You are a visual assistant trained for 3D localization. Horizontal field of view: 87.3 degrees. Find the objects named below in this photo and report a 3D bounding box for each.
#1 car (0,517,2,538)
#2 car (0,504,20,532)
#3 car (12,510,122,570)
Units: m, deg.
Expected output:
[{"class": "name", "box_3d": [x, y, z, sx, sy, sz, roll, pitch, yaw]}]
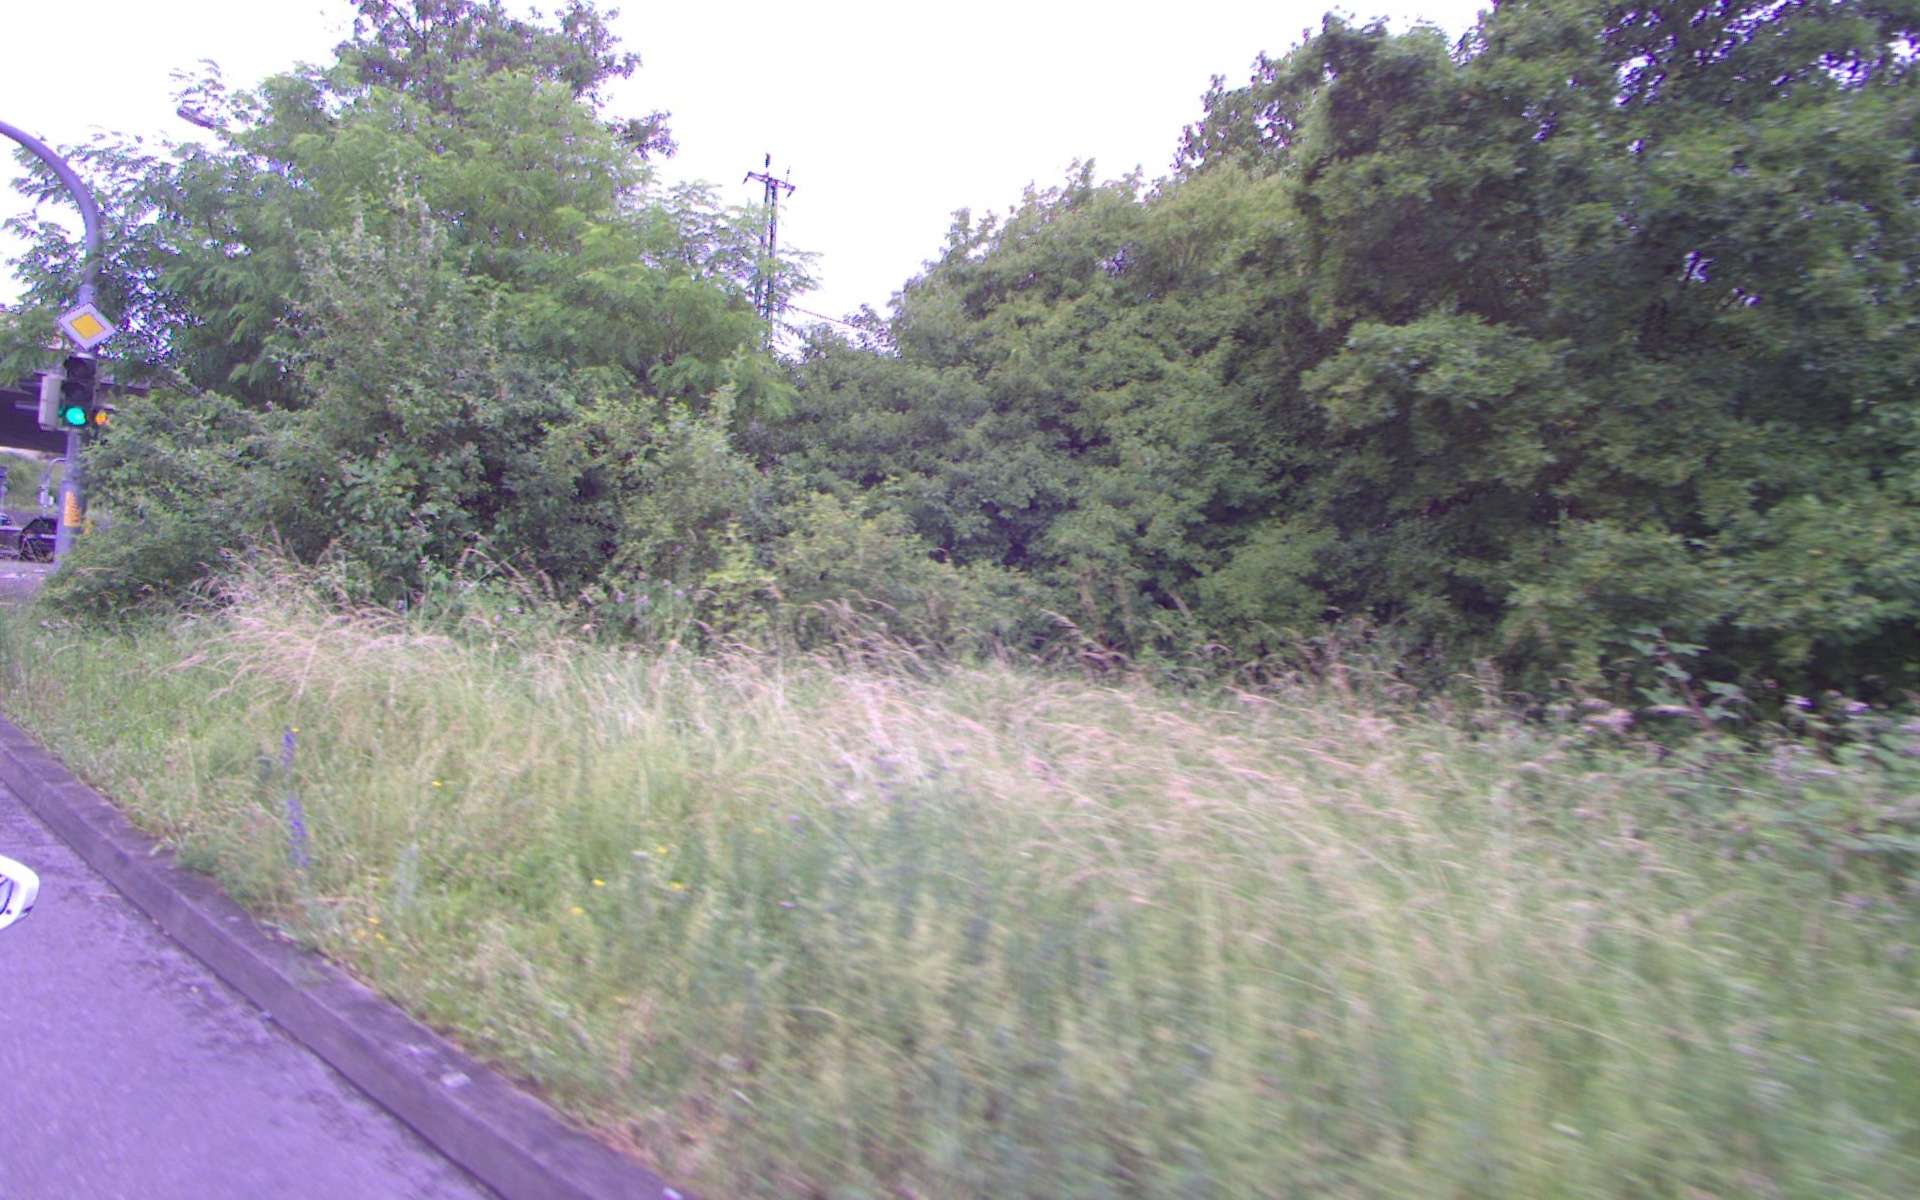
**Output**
[{"class": "car", "box_3d": [-37.010, -2.525, 36.812, 1.802, 1.494, 4.106, 7, -2, -30]}, {"class": "car", "box_3d": [-74.551, -6.471, 76.514, 3.956, 1.971, 1.985, 6, -1, -31]}, {"class": "car", "box_3d": [-29.188, -1.904, 33.016, 1.889, 1.482, 3.968, 11, -5, -32]}]
